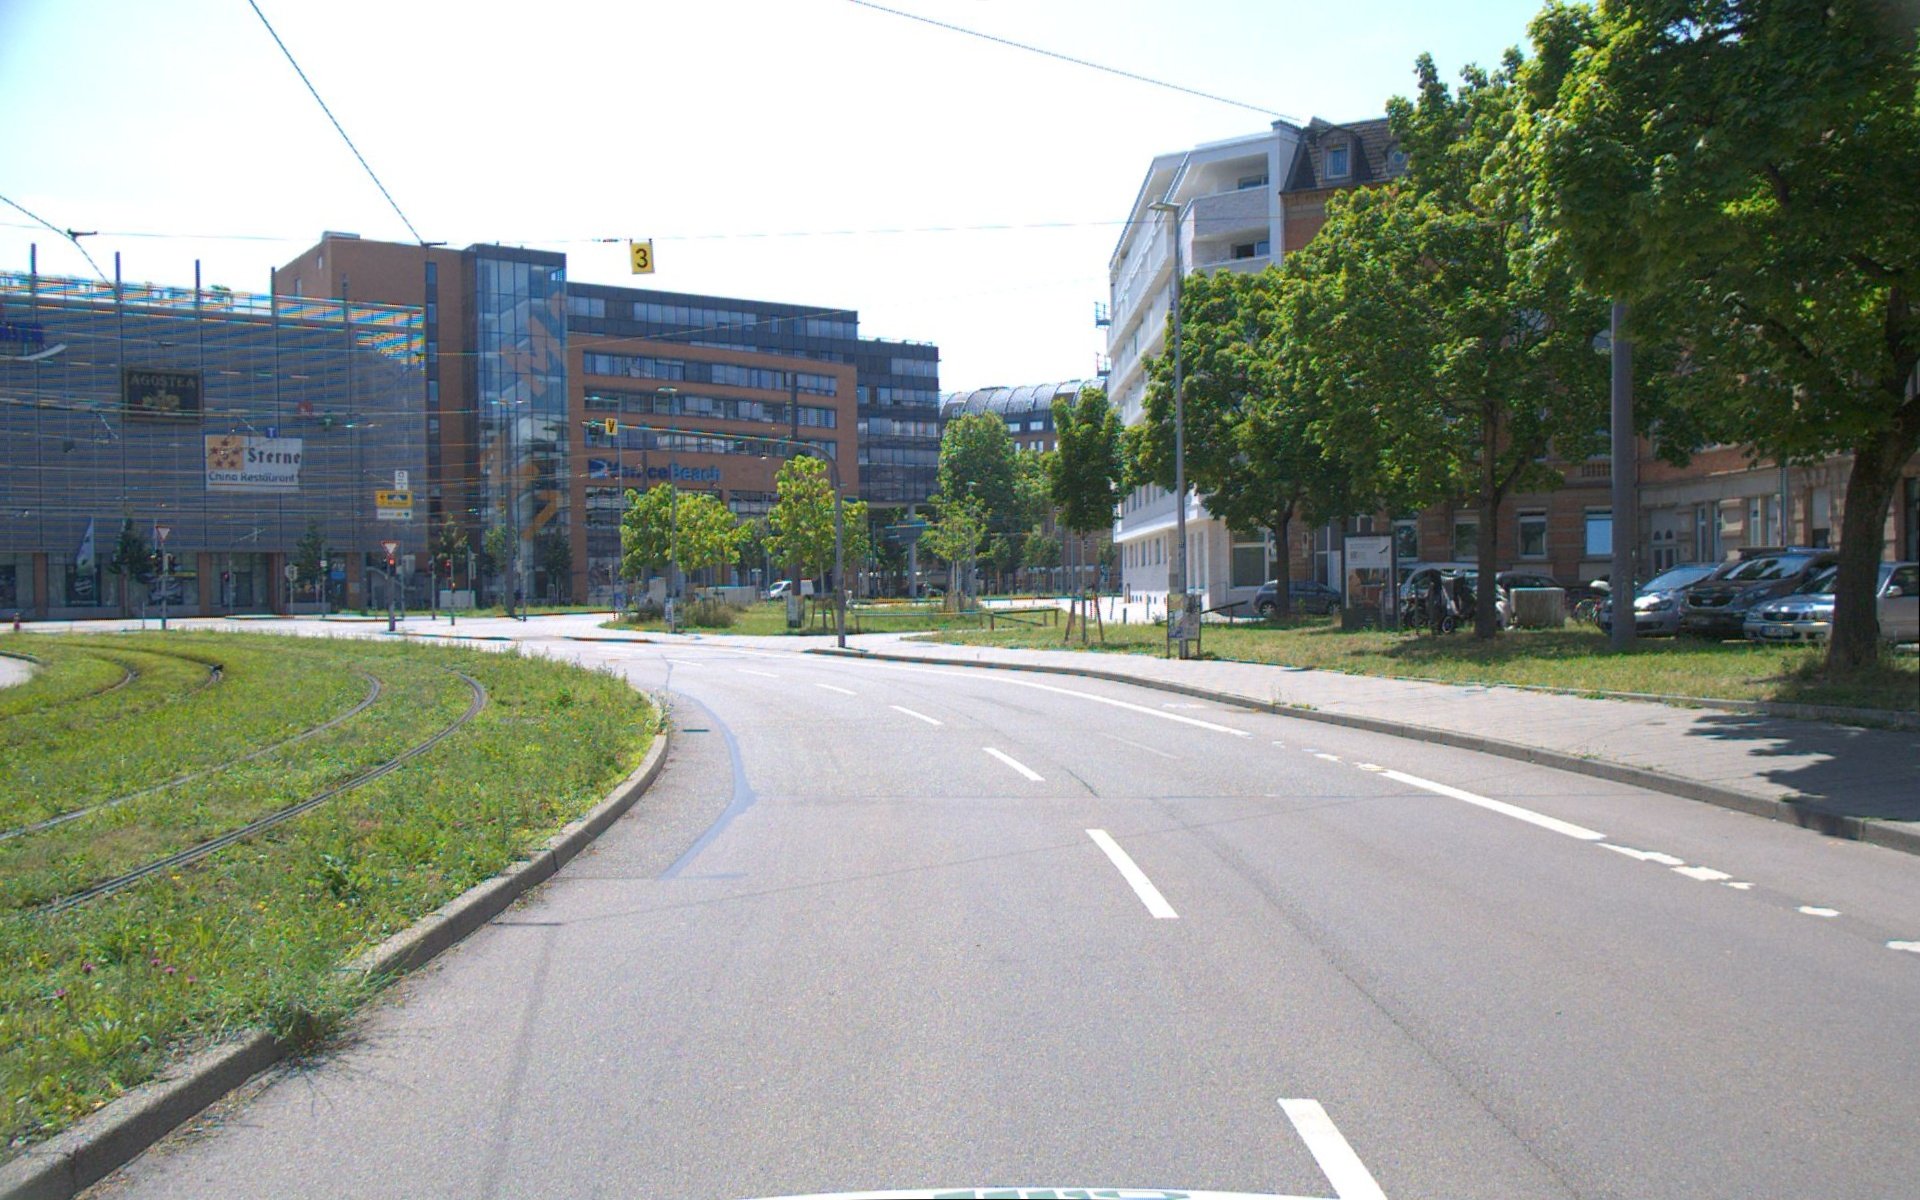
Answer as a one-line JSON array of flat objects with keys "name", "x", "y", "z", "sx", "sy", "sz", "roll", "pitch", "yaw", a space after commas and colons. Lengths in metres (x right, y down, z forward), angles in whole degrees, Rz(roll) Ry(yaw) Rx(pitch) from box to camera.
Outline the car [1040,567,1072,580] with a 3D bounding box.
[{"name": "car", "x": 12.881, "y": -3.538, "z": 222.031, "sx": 3.914, "sy": 1.758, "sz": 1.862, "roll": 1, "pitch": 0, "yaw": 31}]

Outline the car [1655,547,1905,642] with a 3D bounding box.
[{"name": "car", "x": 13.857, "y": -0.083, "z": 27.915, "sx": 4.031, "sy": 1.495, "sz": 1.782, "roll": 0, "pitch": 0, "yaw": -28}]

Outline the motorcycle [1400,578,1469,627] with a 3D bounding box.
[{"name": "motorcycle", "x": 11.062, "y": 0.056, "z": 38.577, "sx": 1.489, "sy": 1.140, "sz": 0.478, "roll": 0, "pitch": 0, "yaw": -1}]

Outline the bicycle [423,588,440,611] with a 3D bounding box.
[{"name": "bicycle", "x": -41.557, "y": -0.052, "z": 130.023, "sx": 0.594, "sy": 1.761, "sz": 2.231, "roll": 0, "pitch": 0, "yaw": -36}]

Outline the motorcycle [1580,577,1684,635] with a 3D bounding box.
[{"name": "motorcycle", "x": 14.750, "y": 0.124, "z": 36.349, "sx": 2.034, "sy": 1.257, "sz": 0.813, "roll": 0, "pitch": 0, "yaw": 16}]

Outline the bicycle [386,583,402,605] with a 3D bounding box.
[{"name": "bicycle", "x": -44.042, "y": -0.470, "z": 128.689, "sx": 0.594, "sy": 1.761, "sz": 2.231, "roll": 0, "pitch": 0, "yaw": -36}]

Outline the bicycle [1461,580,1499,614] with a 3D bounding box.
[{"name": "bicycle", "x": 12.780, "y": -0.072, "z": 40.633, "sx": 0.489, "sy": 0.819, "sz": 1.451, "roll": 1, "pitch": 0, "yaw": 34}]

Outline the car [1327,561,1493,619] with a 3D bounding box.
[{"name": "car", "x": 13.288, "y": -0.287, "z": 48.792, "sx": 4.801, "sy": 1.629, "sz": 1.820, "roll": 0, "pitch": 0, "yaw": -27}]

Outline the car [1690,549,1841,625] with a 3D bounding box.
[{"name": "car", "x": 21.948, "y": -0.353, "z": 45.277, "sx": 1.880, "sy": 1.937, "sz": 4.654, "roll": 0, "pitch": 0, "yaw": 0}]

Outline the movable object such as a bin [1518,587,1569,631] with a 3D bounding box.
[{"name": "movable object such as a bin", "x": 12.883, "y": 0.196, "z": 36.506, "sx": 0.965, "sy": 0.953, "sz": 0.702, "roll": 0, "pitch": 0, "yaw": 11}]

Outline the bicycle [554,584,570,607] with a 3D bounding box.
[{"name": "bicycle", "x": -33.290, "y": -0.383, "z": 138.258, "sx": 0.481, "sy": 1.828, "sz": 2.231, "roll": 0, "pitch": 0, "yaw": -35}]

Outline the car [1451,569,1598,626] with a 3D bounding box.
[{"name": "car", "x": 15.062, "y": -0.067, "z": 44.114, "sx": 3.814, "sy": 1.457, "sz": 1.592, "roll": 0, "pitch": 0, "yaw": -29}]

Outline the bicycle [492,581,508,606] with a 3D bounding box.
[{"name": "bicycle", "x": -37.495, "y": -0.555, "z": 134.857, "sx": 0.481, "sy": 2.049, "sz": 2.318, "roll": 0, "pitch": 0, "yaw": -35}]

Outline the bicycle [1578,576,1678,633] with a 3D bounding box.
[{"name": "bicycle", "x": 15.206, "y": 0.093, "z": 37.693, "sx": 2.034, "sy": 1.257, "sz": 0.632, "roll": 1, "pitch": 0, "yaw": 10}]

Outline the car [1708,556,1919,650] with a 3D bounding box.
[{"name": "car", "x": 13.557, "y": 0.044, "z": 25.017, "sx": 3.931, "sy": 1.336, "sz": 1.959, "roll": 0, "pitch": 0, "yaw": -22}]

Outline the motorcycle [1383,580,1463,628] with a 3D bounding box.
[{"name": "motorcycle", "x": 11.101, "y": 0.099, "z": 39.639, "sx": 1.787, "sy": 1.140, "sz": 0.527, "roll": 0, "pitch": 0, "yaw": -7}]

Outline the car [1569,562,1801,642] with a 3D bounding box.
[{"name": "car", "x": 13.431, "y": 0.039, "z": 30.610, "sx": 4.281, "sy": 1.400, "sz": 1.569, "roll": 0, "pitch": 0, "yaw": -26}]

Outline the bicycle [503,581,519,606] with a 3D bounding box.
[{"name": "bicycle", "x": -36.765, "y": -0.553, "z": 135.358, "sx": 0.481, "sy": 2.049, "sz": 2.318, "roll": 0, "pitch": 0, "yaw": -35}]

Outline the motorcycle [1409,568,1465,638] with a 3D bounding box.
[{"name": "motorcycle", "x": 10.229, "y": 0.045, "z": 35.511, "sx": 0.661, "sy": 1.438, "sz": 1.857, "roll": -2, "pitch": 0, "yaw": 1}]

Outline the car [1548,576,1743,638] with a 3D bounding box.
[{"name": "car", "x": 16.223, "y": 0.160, "z": 39.295, "sx": 3.902, "sy": 1.400, "sz": 1.958, "roll": 1, "pitch": 0, "yaw": 8}]

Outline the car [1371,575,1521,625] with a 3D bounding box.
[{"name": "car", "x": 13.623, "y": 0.003, "z": 46.306, "sx": 3.940, "sy": 1.355, "sz": 1.743, "roll": 0, "pitch": 0, "yaw": -27}]

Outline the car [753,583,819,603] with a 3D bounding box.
[{"name": "car", "x": -14.511, "y": -0.578, "z": 138.483, "sx": 5.437, "sy": 1.697, "sz": 1.969, "roll": 0, "pitch": 0, "yaw": -43}]

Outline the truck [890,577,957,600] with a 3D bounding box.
[{"name": "truck", "x": -4.732, "y": -1.517, "z": 212.749, "sx": 9.044, "sy": 2.858, "sz": 1.995, "roll": 1, "pitch": 0, "yaw": 32}]

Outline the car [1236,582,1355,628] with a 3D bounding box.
[{"name": "car", "x": 12.586, "y": 0.169, "z": 62.089, "sx": 4.040, "sy": 1.653, "sz": 1.692, "roll": 1, "pitch": 0, "yaw": 30}]
